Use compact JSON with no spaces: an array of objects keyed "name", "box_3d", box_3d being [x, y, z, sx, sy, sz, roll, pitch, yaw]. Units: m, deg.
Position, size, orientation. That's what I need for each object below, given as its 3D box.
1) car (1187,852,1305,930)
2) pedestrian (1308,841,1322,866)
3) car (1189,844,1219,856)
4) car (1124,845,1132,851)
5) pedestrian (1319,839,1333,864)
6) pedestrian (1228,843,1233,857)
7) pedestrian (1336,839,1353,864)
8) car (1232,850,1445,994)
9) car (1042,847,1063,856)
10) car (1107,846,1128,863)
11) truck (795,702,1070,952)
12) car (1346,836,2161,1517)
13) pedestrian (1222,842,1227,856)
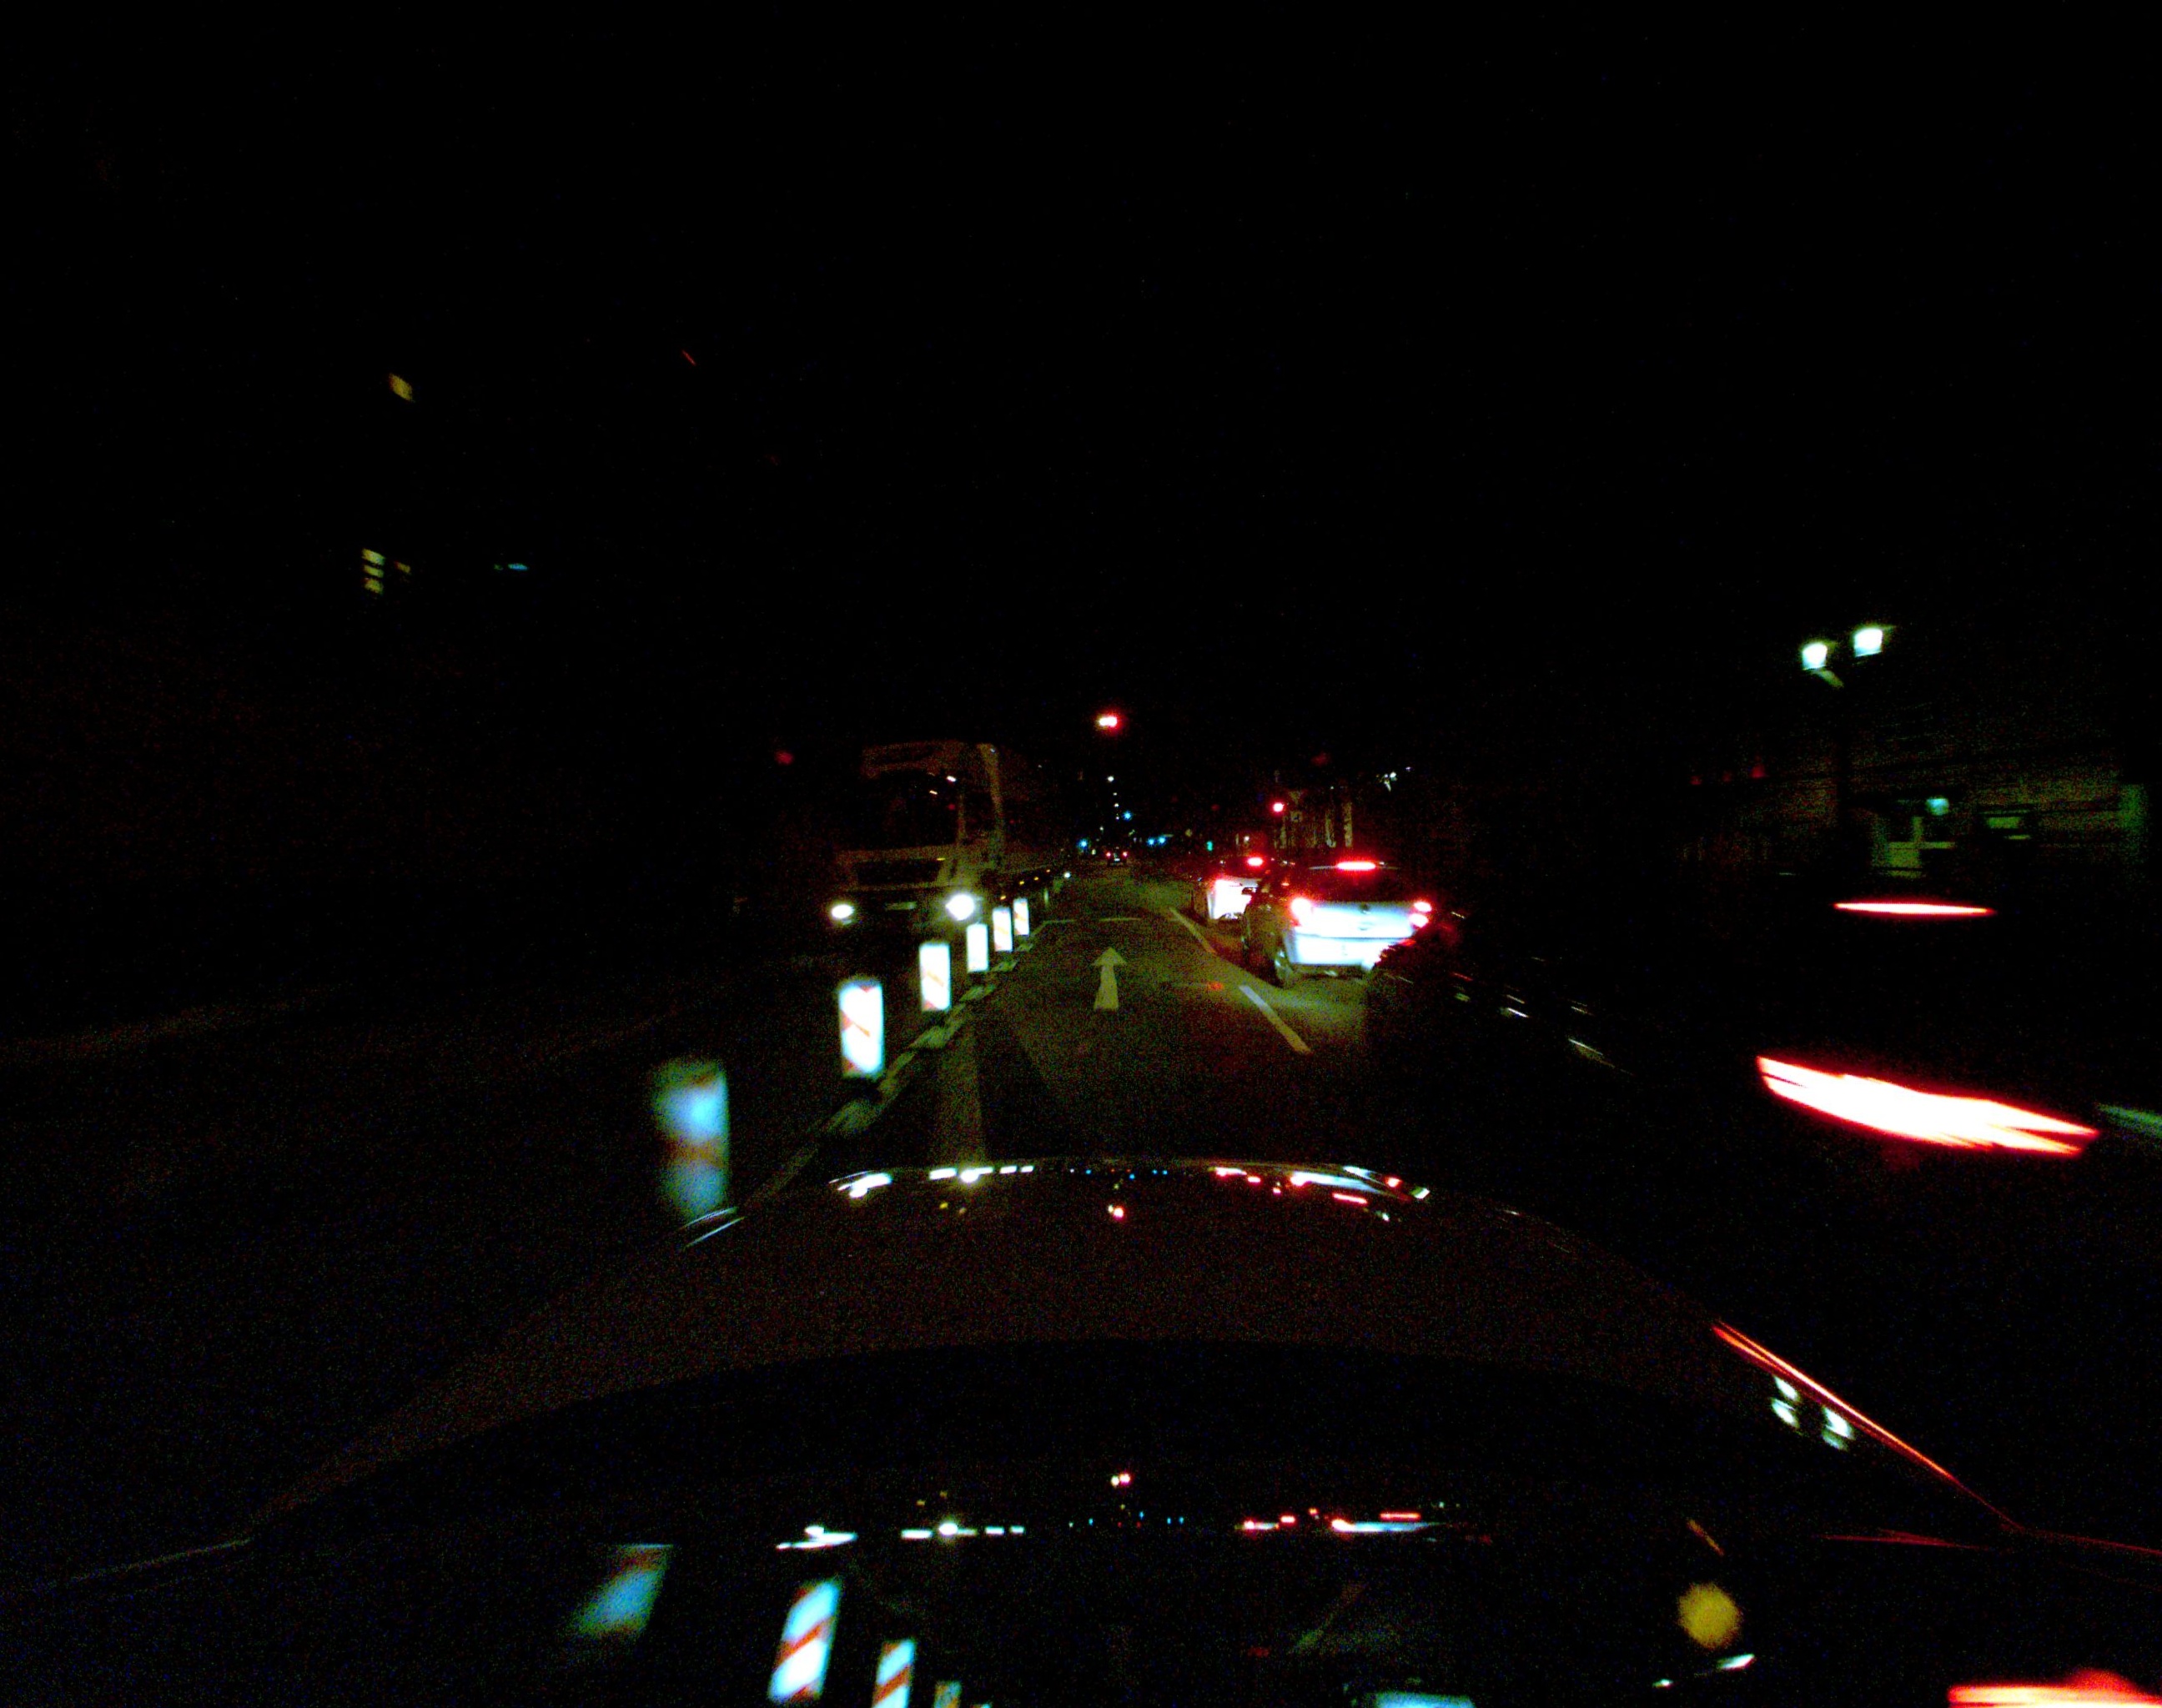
[{"name":"car","box_3d":[3.326,0.677,17.159,1.723,1.435,4.212,0,0,1]},{"name":"pedestrian","box_3d":[16.725,-0.059,58.301,0.711,1.769,0.907,-2,0,2]},{"name":"car","box_3d":[16.959,-0.554,112.669,3.968,1.386,1.774,-2,0,5]},{"name":"car","box_3d":[13.903,-1.723,240.097,1.987,1.596,4.000,-2,0,0]},{"name":"pedestrian","box_3d":[17.577,-0.165,58.443,0.736,1.769,0.907,-2,0,2]},{"name":"pedestrian","box_3d":[21.647,-0.510,117.773,0.486,2.013,0.551,-2,0,2]},{"name":"pedestrian","box_3d":[18.890,-0.202,58.368,0.897,1.769,0.907,-2,0,2]},{"name":"car","box_3d":[3.062,0.701,10.504,1.631,1.494,4.002,0,0,2]},{"name":"car","box_3d":[-4.804,-0.395,134.958,1.814,1.486,3.962,-2,0,-29]},{"name":"car","box_3d":[3.614,0.051,81.564,1.986,1.640,4.001,-2,0,1]},{"name":"truck","box_3d":[-2.385,-0.431,17.566,2.740,3.718,10.133,-3,0,7]},{"name":"car","box_3d":[2.893,0.711,4.141,1.797,1.494,4.734,1,0,3]},{"name":"pedestrian","box_3d":[20.589,-0.759,117.046,0.529,2.013,0.670,-2,0,2]}]
